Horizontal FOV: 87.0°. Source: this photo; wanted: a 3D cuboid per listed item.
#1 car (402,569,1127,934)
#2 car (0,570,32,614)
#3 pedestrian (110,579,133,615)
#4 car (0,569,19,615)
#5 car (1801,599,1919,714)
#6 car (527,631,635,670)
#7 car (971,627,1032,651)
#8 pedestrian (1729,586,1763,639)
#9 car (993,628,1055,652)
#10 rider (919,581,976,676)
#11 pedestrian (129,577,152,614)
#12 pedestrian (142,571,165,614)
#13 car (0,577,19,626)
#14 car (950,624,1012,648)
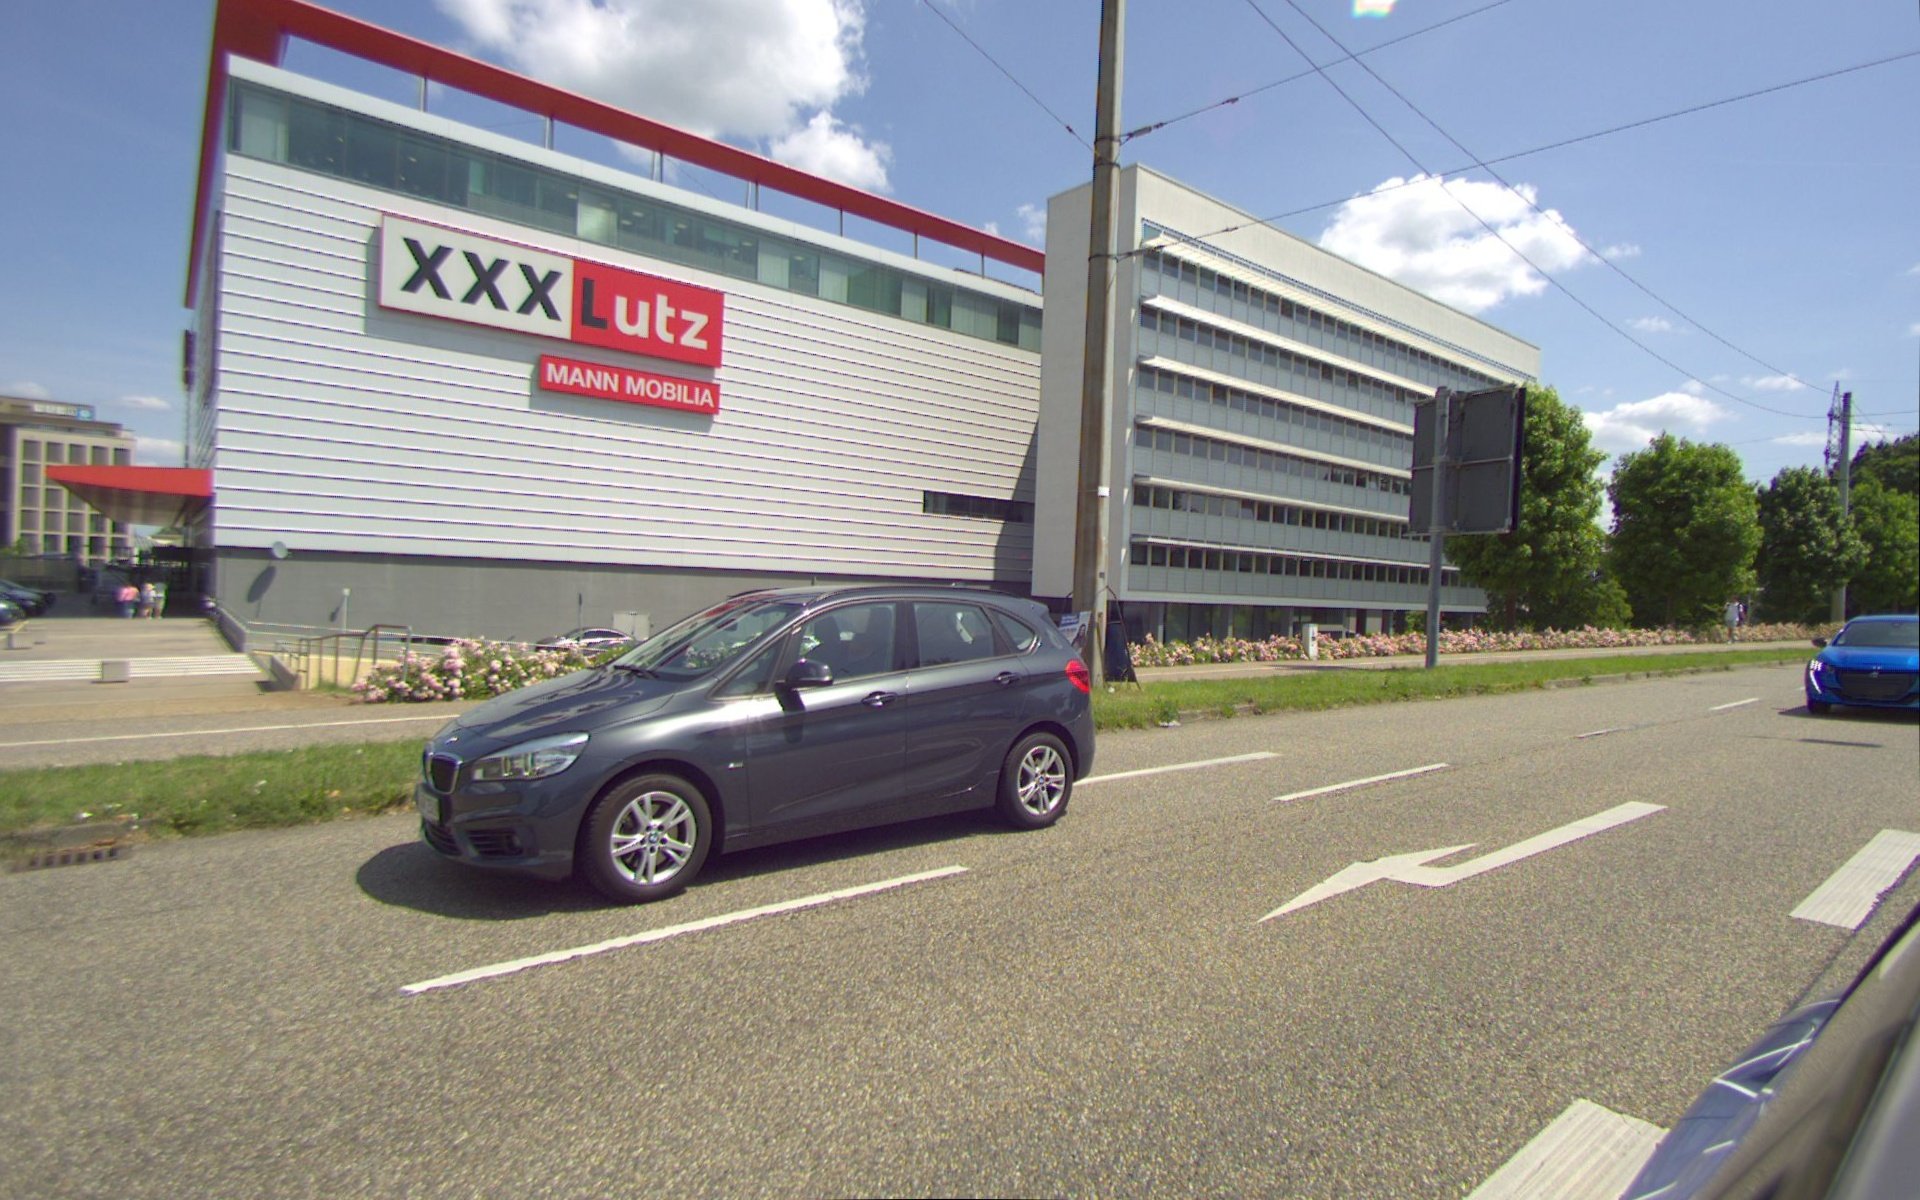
[{"bbox_3d":[-1.013,0.639,6.236,4.024,1.546,1.765,1,1,-38],"label":"car"},{"bbox_3d":[-45.831,-0.388,47.007,3.930,2.039,1.997,0,1,-41],"label":"car"},{"bbox_3d":[-36.378,-0.127,43.922,0.723,1.577,0.741,1,0,-42],"label":"pedestrian"},{"bbox_3d":[-44.402,-0.386,44.776,3.930,2.039,1.997,0,0,-41],"label":"car"},{"bbox_3d":[13.939,0.739,14.840,3.930,1.473,1.840,-1,0,-41],"label":"car"},{"bbox_3d":[-18.319,2.412,49.064,4.509,1.632,1.997,0,0,-41],"label":"car"},{"bbox_3d":[2.757,2.516,66.400,3.930,1.403,1.646,0,0,-41],"label":"car"},{"bbox_3d":[28.445,0.434,36.623,0.913,1.872,0.758,1,0,-38],"label":"pedestrian"},{"bbox_3d":[4.081,2.541,64.430,3.930,1.338,1.607,0,0,-41],"label":"car"},{"bbox_3d":[-0.202,0.436,16.136,0.607,1.476,0.670,1,0,-41],"label":"rider"},{"bbox_3d":[-35.345,-0.176,43.625,0.723,1.577,0.741,1,0,-42],"label":"pedestrian"},{"bbox_3d":[-35.577,-0.327,44.652,0.723,1.893,0.741,1,0,-42],"label":"pedestrian"},{"bbox_3d":[-37.106,0.067,36.704,4.256,1.804,1.997,0,-1,-41],"label":"car"},{"bbox_3d":[1.434,2.427,68.640,3.930,1.465,1.997,0,0,-41],"label":"car"}]
